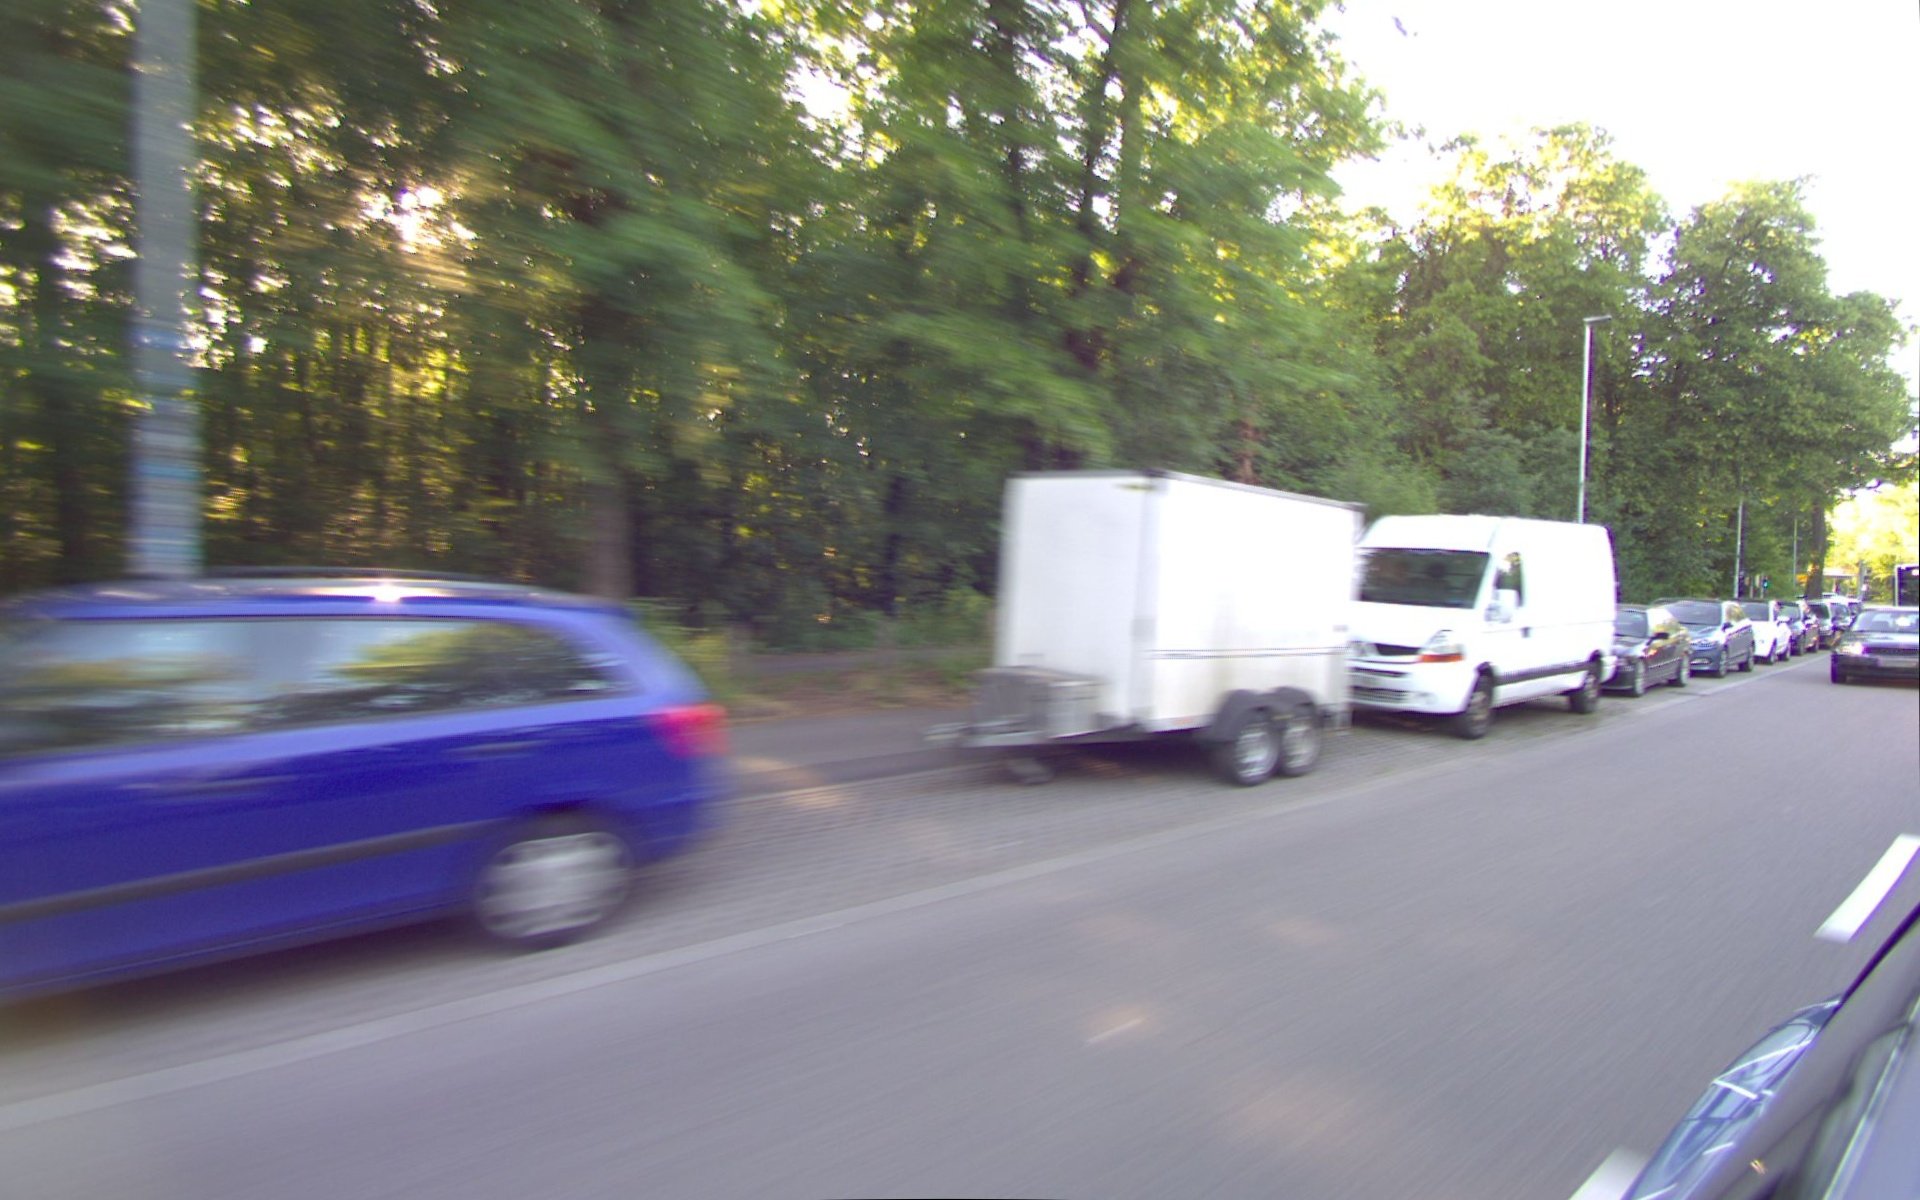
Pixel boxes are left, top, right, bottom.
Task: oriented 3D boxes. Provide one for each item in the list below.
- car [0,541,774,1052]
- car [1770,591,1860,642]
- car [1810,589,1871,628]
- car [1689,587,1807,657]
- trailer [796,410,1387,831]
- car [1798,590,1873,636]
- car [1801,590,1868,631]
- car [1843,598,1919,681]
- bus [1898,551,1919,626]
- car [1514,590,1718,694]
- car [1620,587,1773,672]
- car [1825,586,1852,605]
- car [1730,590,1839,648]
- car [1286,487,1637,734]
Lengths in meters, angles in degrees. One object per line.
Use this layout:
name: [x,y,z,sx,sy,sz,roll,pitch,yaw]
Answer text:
car: [-3.050,0.558,4.045,4.277,1.554,1.681,-1,3,-41]
car: [26.839,0.459,31.726,4.414,1.429,1.719,-1,3,-45]
car: [37.455,0.318,43.009,1.718,1.487,4.136,3,3,44]
car: [19.062,0.470,24.430,3.627,1.482,1.680,-1,3,-43]
trailer: [1.336,0.061,8.274,5.037,2.453,1.908,-1,2,-41]
car: [30.587,0.412,35.315,1.718,1.429,4.416,3,3,44]
car: [33.717,0.362,38.977,1.718,1.429,4.059,3,3,44]
car: [17.520,0.663,18.519,3.927,1.376,1.676,-1,1,-43]
bus: [44.243,-0.503,45.353,2.806,3.086,12.677,0,0,45]
car: [10.908,0.588,16.691,4.571,1.418,1.680,-1,3,-42]
car: [14.812,0.516,20.284,3.997,1.482,1.680,-1,3,-42]
car: [95.642,-0.493,110.192,1.810,1.945,5.197,0,1,37]
car: [23.098,0.464,28.287,4.824,1.429,1.720,-1,3,-43]
car: [6.420,0.043,12.585,5.479,2.453,1.908,-1,2,-41]
